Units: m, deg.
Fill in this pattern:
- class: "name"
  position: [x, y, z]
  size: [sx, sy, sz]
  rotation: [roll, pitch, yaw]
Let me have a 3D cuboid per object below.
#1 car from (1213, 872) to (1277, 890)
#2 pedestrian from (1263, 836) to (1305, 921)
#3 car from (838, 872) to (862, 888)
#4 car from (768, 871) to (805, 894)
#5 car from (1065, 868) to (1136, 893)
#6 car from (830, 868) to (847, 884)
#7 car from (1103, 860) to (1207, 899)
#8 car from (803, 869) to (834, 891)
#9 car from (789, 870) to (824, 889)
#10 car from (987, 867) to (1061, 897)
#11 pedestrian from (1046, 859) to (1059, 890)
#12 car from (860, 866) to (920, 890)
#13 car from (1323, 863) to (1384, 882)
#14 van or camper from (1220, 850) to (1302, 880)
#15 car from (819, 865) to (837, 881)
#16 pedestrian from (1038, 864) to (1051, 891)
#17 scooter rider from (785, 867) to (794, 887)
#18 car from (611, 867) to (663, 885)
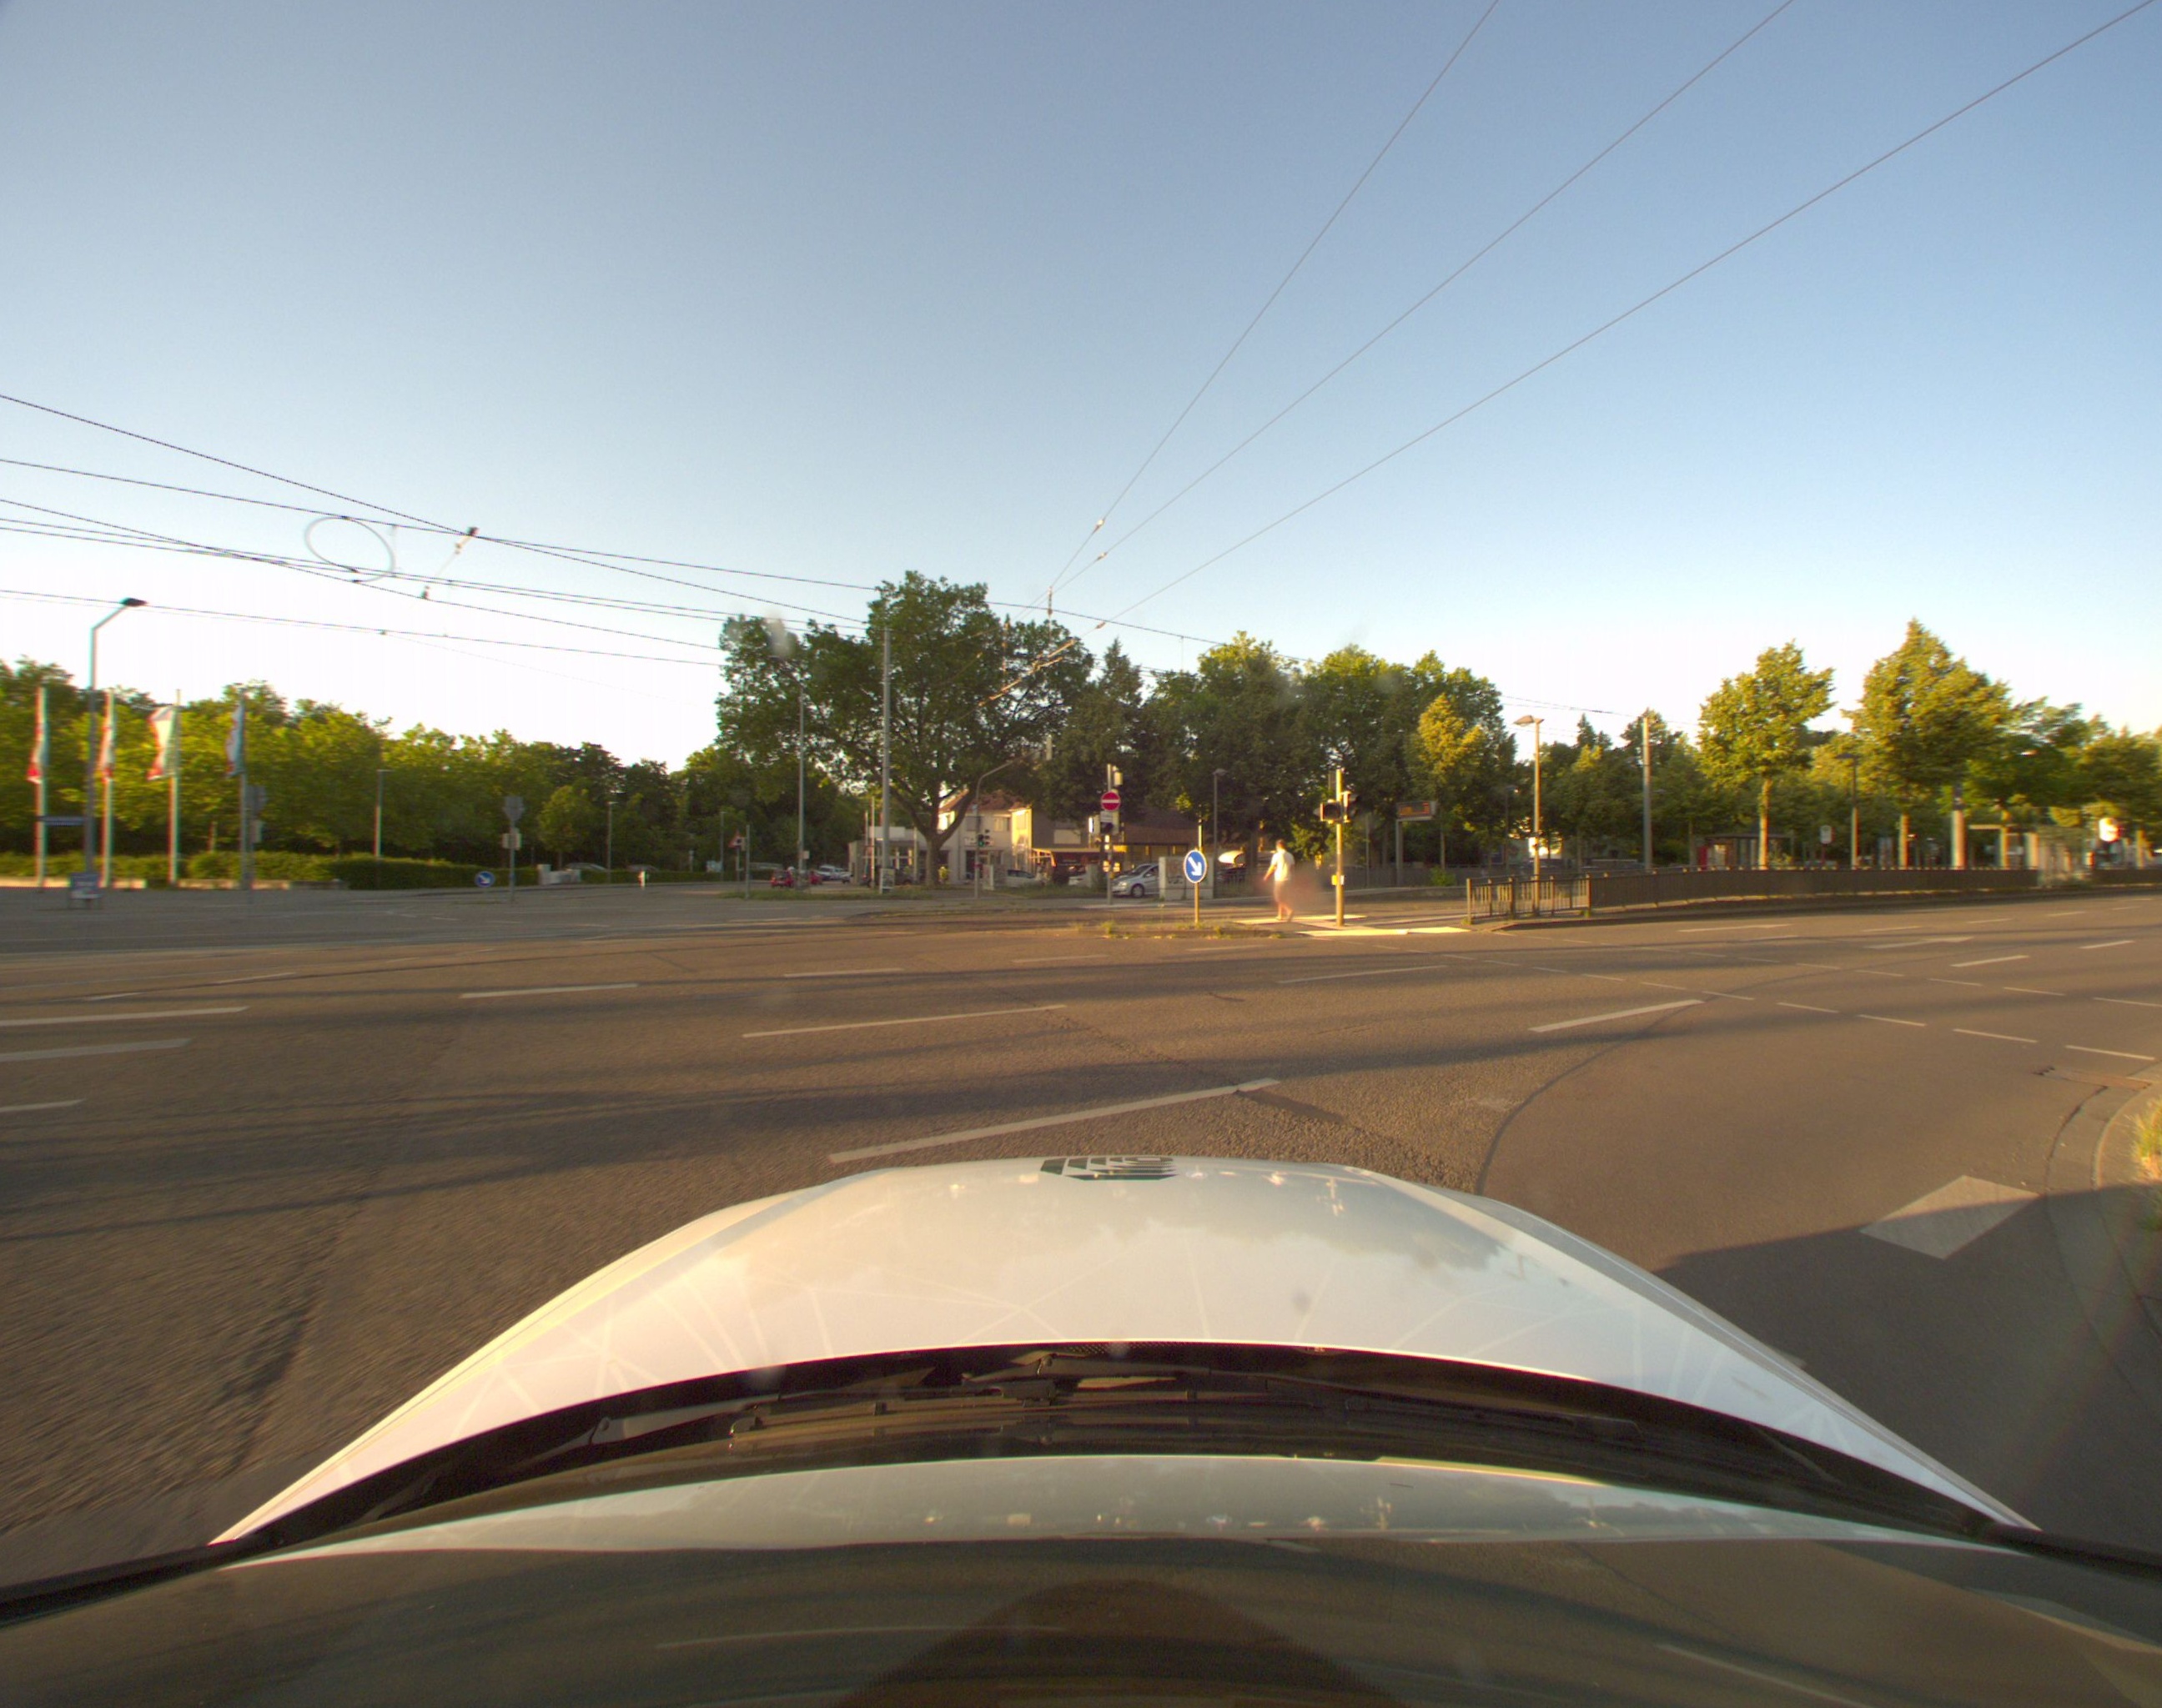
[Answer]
- class: "car"
  position: [11.962, 1.945, 59.462]
  size: [4.248, 1.300, 1.911]
  rotation: [1, -1, -23]
- class: "pedestrian"
  position: [4.394, 0.520, 17.685]
  size: [0.758, 1.791, 0.803]
  rotation: [1, -2, 5]
- class: "car"
  position: [-24.912, 2.793, 87.816]
  size: [1.913, 1.603, 3.989]
  rotation: [0, -1, -7]
- class: "car"
  position: [-24.231, 2.314, 67.073]
  size: [1.864, 1.875, 3.868]
  rotation: [0, -1, -4]
- class: "car"
  position: [1.271, 1.686, 53.188]
  size: [4.248, 1.577, 1.985]
  rotation: [1, -1, -23]
- class: "car"
  position: [-31.979, 2.839, 107.245]
  size: [1.999, 2.014, 3.975]
  rotation: [0, -1, -18]
- class: "car"
  position: [3.419, 1.161, 37.538]
  size: [4.561, 1.728, 1.844]
  rotation: [1, -1, -30]
- class: "car"
  position: [-24.236, 2.372, 75.286]
  size: [1.913, 2.047, 3.989]
  rotation: [0, -1, -7]
- class: "car"
  position: [-23.951, 2.186, 71.226]
  size: [1.990, 1.574, 3.992]
  rotation: [0, -1, -5]
- class: "car"
  position: [-3.574, 1.722, 51.281]
  size: [4.248, 1.846, 1.985]
  rotation: [1, -1, -23]
- class: "pedestrian"
  position: [-1.690, 1.203, 47.903]
  size: [0.716, 1.754, 0.897]
  rotation: [0, -1, -1]
- class: "car"
  position: [-15.006, 1.863, 63.964]
  size: [4.392, 1.835, 1.935]
  rotation: [0, -1, -21]
- class: "car"
  position: [21.256, 1.427, 63.579]
  size: [4.248, 1.465, 1.985]
  rotation: [1, -1, -23]
- class: "van or camper"
  position: [15.142, 0.961, 68.308]
  size: [6.588, 2.410, 2.248]
  rotation: [1, -2, -21]
- class: "car"
  position: [-31.800, 2.382, 102.323]
  size: [1.999, 2.014, 3.975]
  rotation: [0, -1, -18]
- class: "pedestrian"
  position: [-2.198, 1.404, 48.828]
  size: [0.716, 1.639, 0.897]
  rotation: [0, -1, -1]
- class: "scooter rider"
  position: [-26.845, 2.112, 75.056]
  size: [0.706, 1.855, 0.663]
  rotation: [1, -2, -26]
- class: "car"
  position: [-40.482, 1.978, 74.355]
  size: [4.005, 1.561, 1.984]
  rotation: [1, -1, -24]
